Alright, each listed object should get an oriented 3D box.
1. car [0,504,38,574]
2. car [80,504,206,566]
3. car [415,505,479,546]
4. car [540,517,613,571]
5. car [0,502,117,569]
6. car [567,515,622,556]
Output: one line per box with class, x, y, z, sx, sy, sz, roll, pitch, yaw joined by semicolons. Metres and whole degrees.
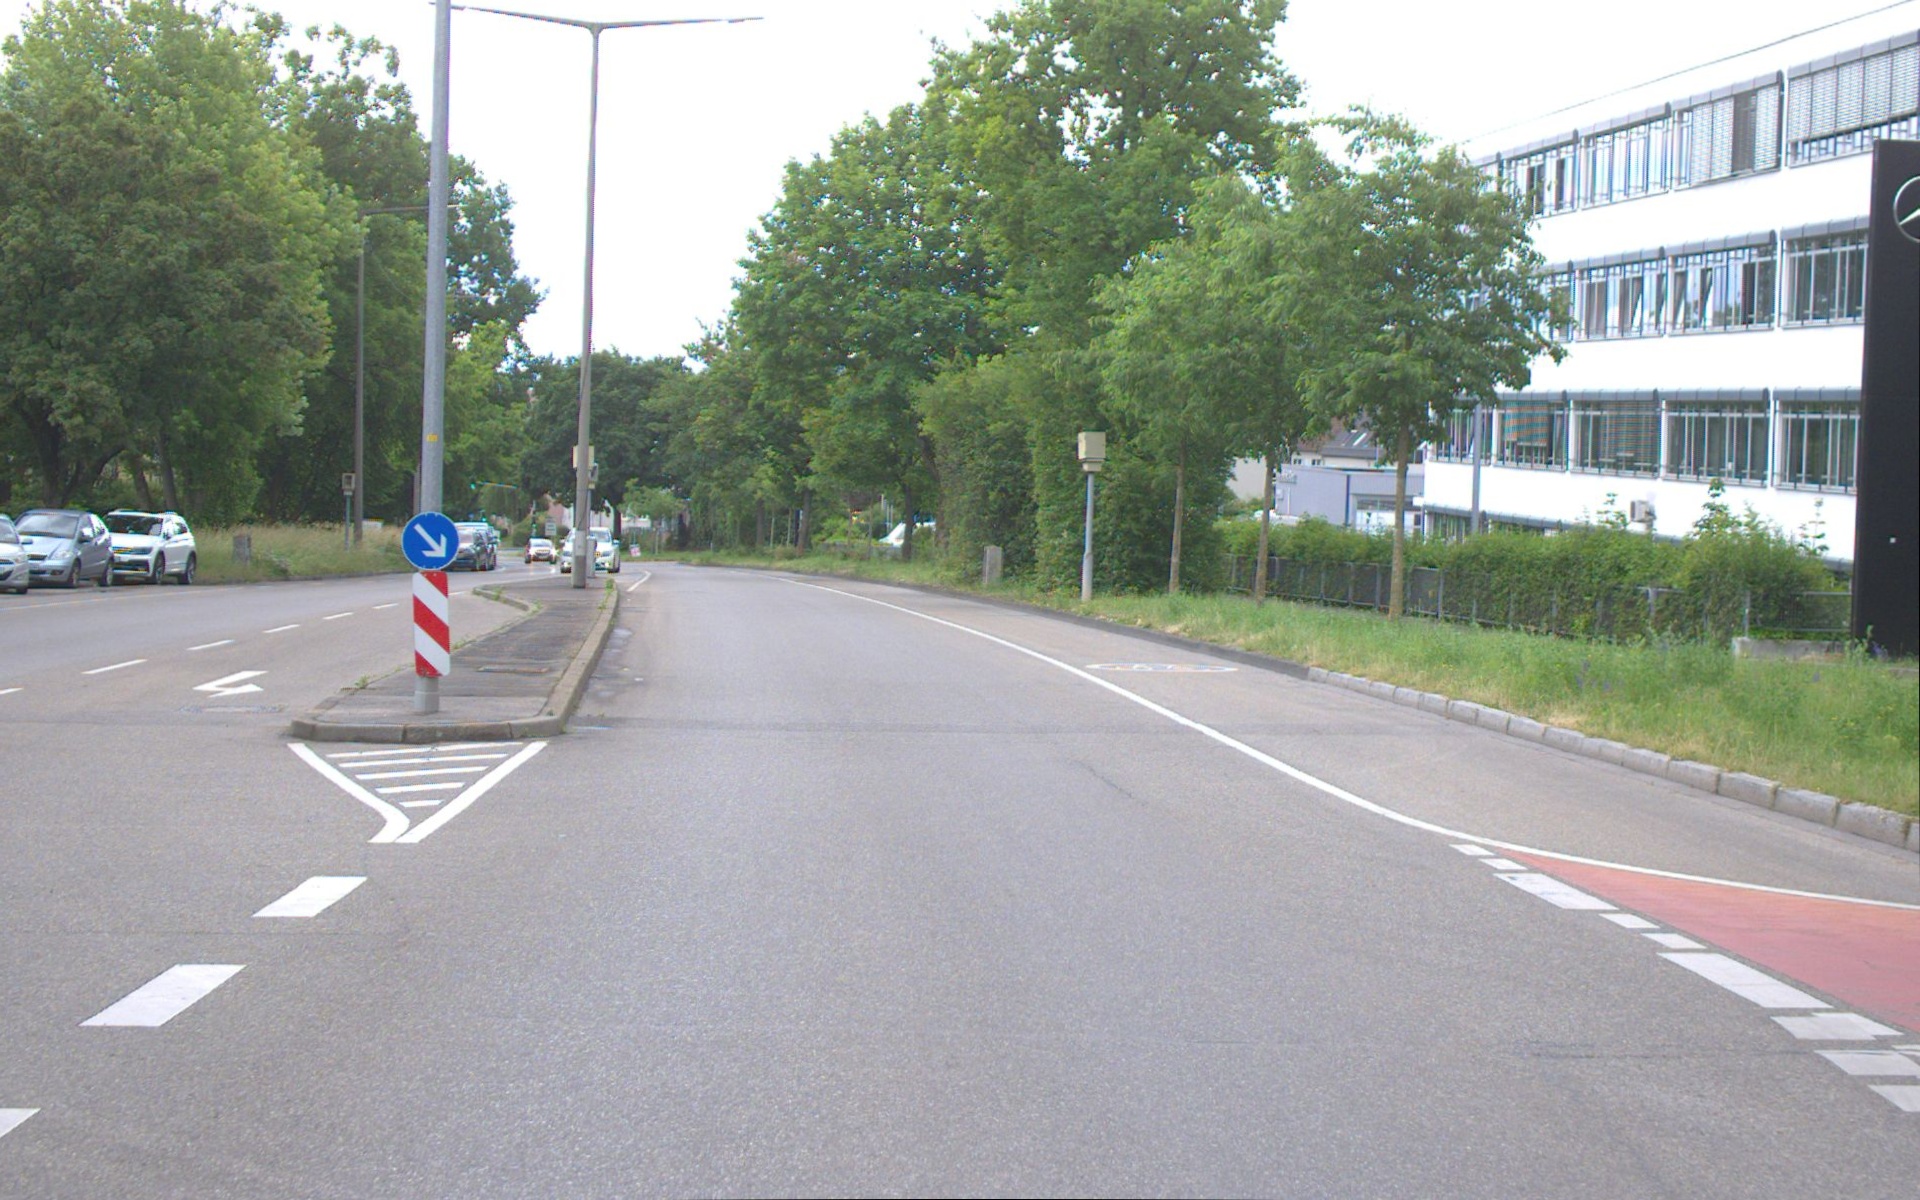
car;-19.087;-1.224;66.966;1.672;1.300;4.001;1;1;-22
car;-18.353;-1.467;77.385;1.673;1.300;4.000;2;1;3
car;-17.359;-2.534;116.460;1.771;1.300;4.001;2;1;-3
car;-9.827;-1.448;88.255;1.611;1.300;4.001;2;1;-3
car;-18.933;-1.362;71.901;1.672;1.300;4.000;2;1;-1
car;-12.257;-2.194;115.484;1.611;1.300;4.001;2;1;-3
